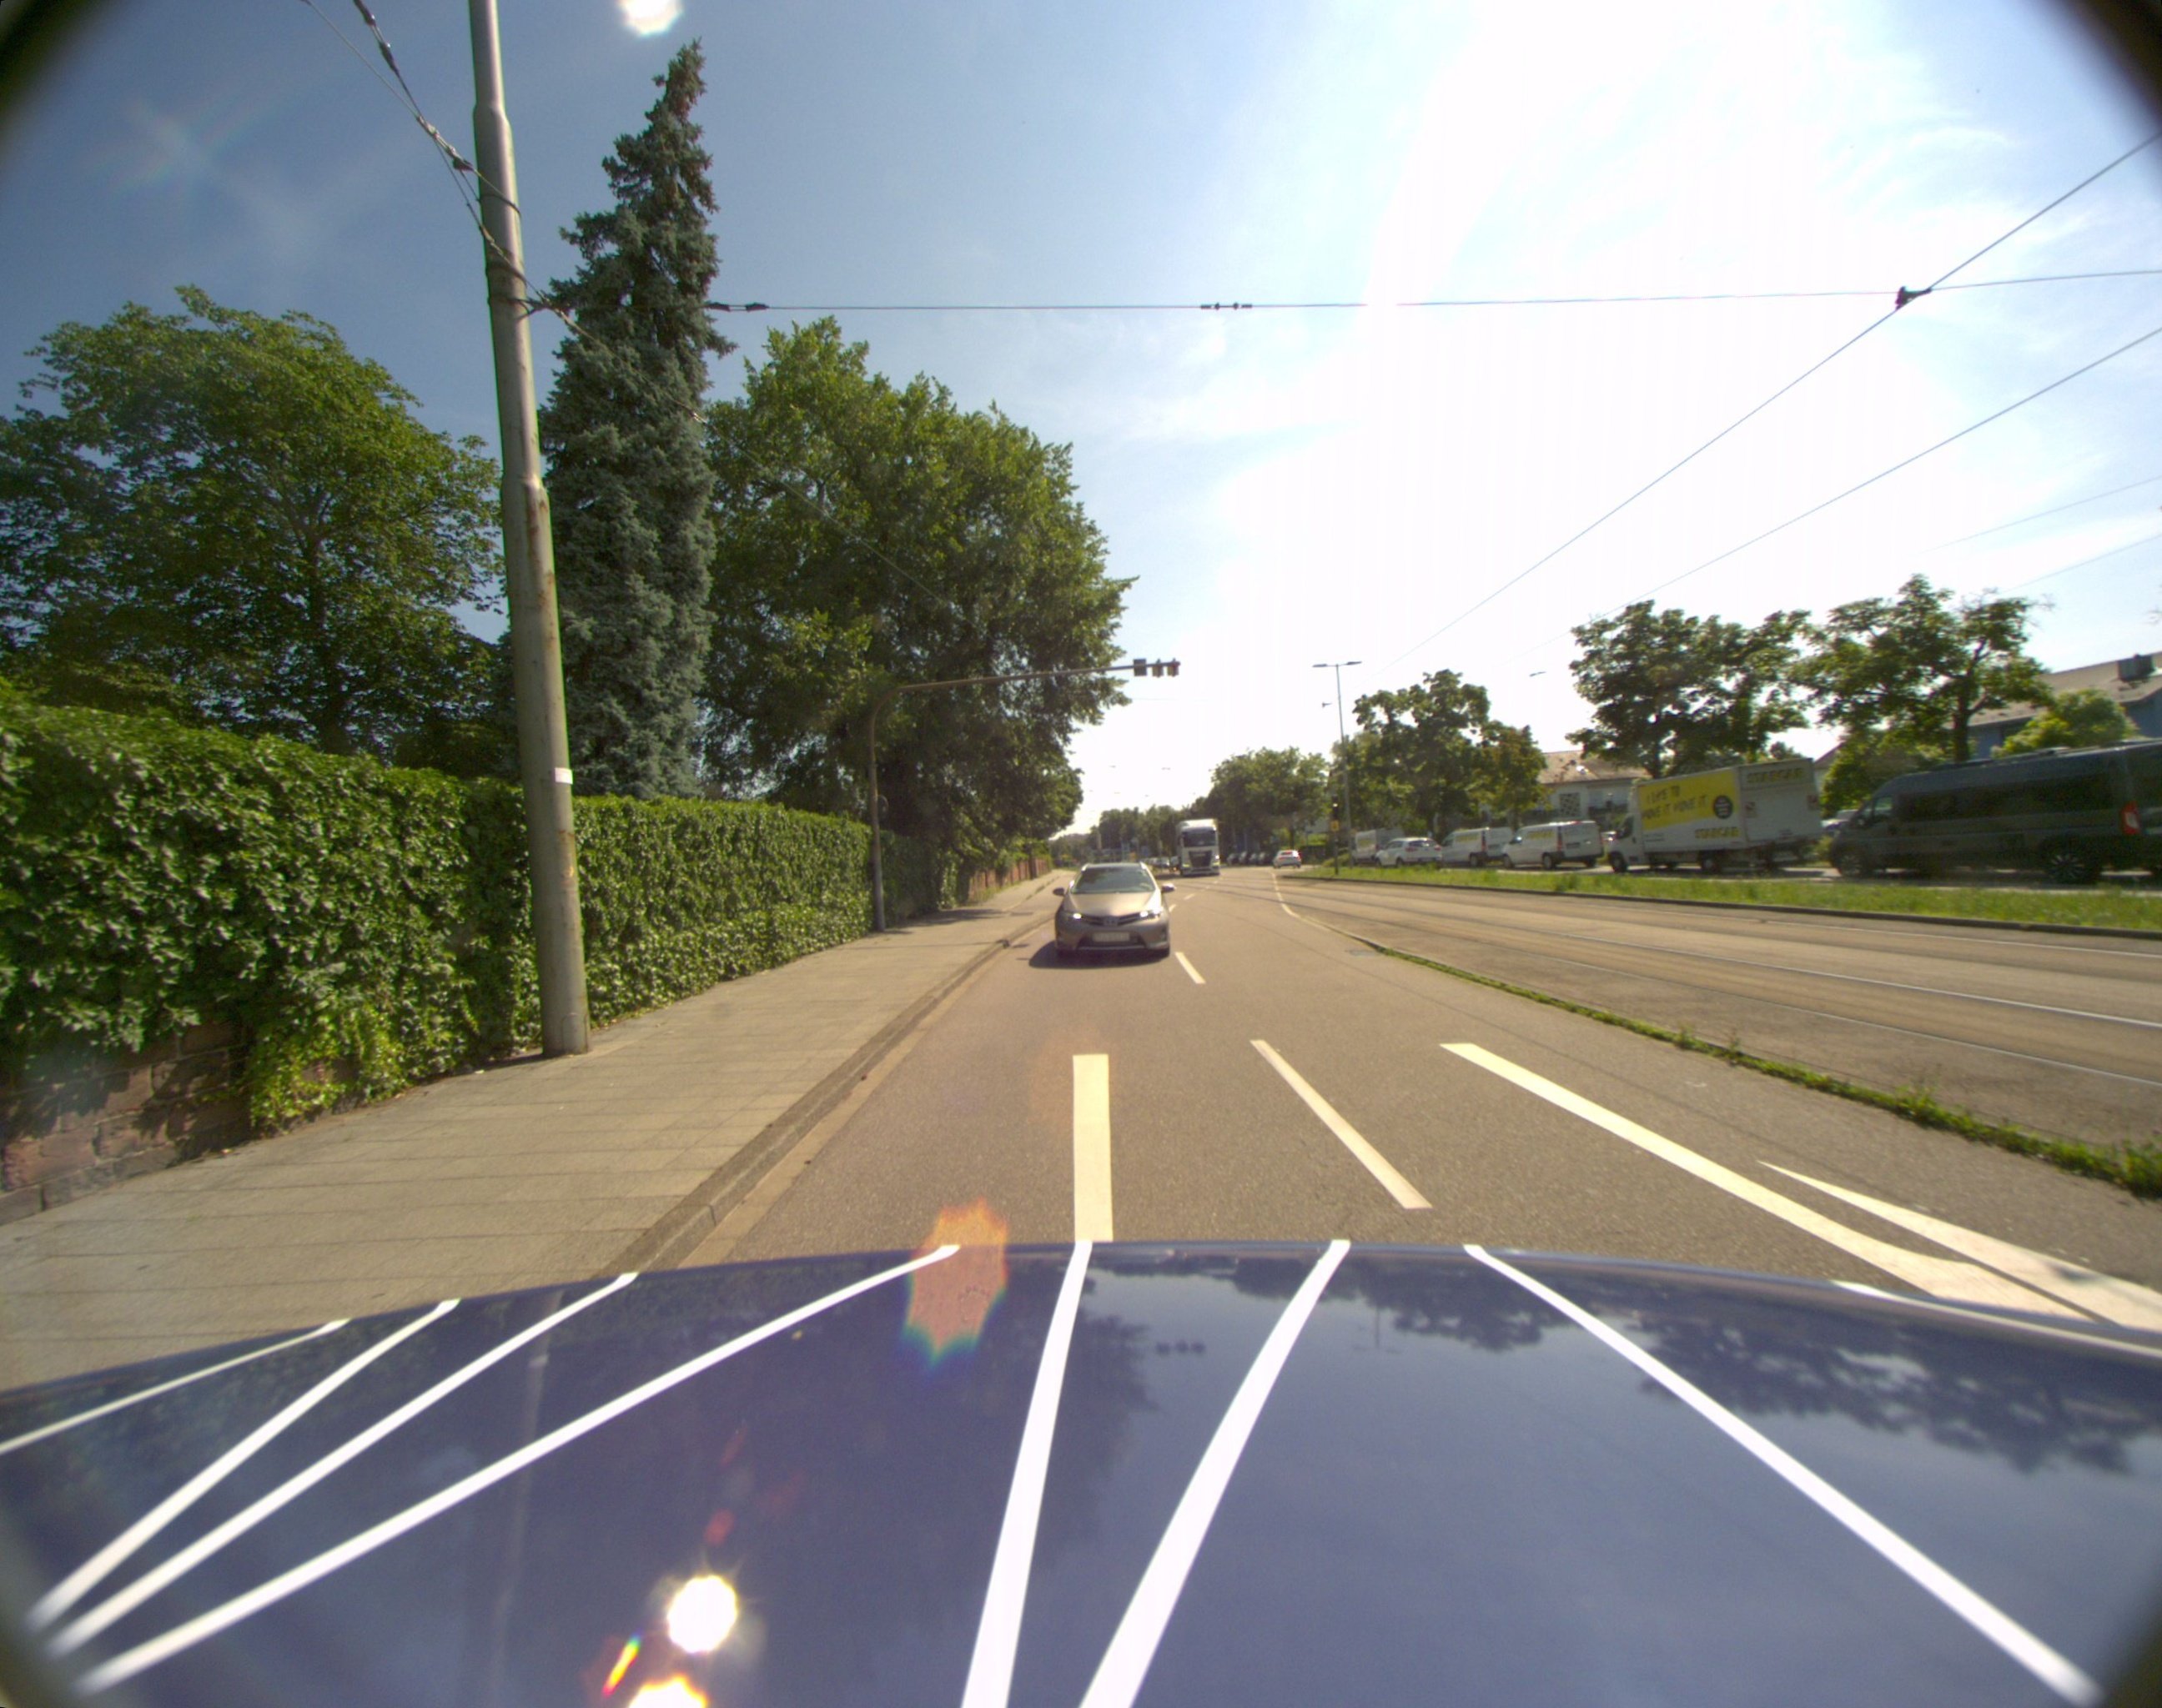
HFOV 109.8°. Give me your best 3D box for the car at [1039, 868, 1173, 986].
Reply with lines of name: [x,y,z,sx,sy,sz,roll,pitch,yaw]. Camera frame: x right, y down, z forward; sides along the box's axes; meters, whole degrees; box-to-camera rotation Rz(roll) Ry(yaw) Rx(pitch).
car: [0.509,0.993,11.939,1.719,1.439,4.032,-2,0,5]

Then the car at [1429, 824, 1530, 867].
car: [20.793,-0.388,39.943,2.202,1.929,5.183,-5,0,-4]

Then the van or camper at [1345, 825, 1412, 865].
van or camper: [20.564,-0.587,52.843,2.263,2.500,6.148,-3,0,2]

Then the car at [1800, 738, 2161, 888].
car: [19.942,-0.784,16.753,2.201,2.653,6.079,-5,0,0]

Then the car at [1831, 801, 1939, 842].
car: [43.065,-1.738,40.754,3.998,1.879,1.785,-3,0,-3]

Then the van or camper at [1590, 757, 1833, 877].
van or camper: [20.071,-1.026,24.844,2.201,3.222,6.772,-5,0,2]

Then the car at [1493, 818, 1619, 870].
car: [20.567,-0.398,33.240,2.201,1.929,5.185,-5,0,2]

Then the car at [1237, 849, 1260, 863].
car: [20.396,0.257,92.587,1.679,1.603,4.241,-3,0,-2]

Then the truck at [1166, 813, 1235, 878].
truck: [8.728,-0.614,57.439,3.390,4.045,14.289,-5,0,3]

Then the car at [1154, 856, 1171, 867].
car: [9.955,0.862,93.395,1.700,1.248,4.000,-3,0,1]

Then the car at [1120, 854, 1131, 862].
car: [11.399,1.080,193.919,1.999,1.783,3.998,-3,0,-6]

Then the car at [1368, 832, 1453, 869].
car: [15.670,-0.158,36.458,2.048,1.588,4.660,-2,0,0]

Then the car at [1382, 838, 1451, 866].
car: [20.260,-0.121,46.147,1.937,1.446,4.885,-5,0,0]

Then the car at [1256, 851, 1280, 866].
car: [20.224,0.470,82.256,1.619,1.442,4.083,-3,0,2]

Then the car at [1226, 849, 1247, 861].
car: [20.332,0.198,99.500,1.679,1.427,4.457,-3,0,-2]

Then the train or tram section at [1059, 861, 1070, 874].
train or tram section: [-5.366,4.282,248.420,2.677,3.631,15.305,-6,0,0]

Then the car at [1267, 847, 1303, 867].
car: [16.203,0.256,60.512,1.795,1.414,4.336,-3,0,3]

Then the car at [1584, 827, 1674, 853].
car: [31.377,-0.792,43.551,3.925,1.263,1.663,-3,0,0]

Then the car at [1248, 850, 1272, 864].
car: [20.496,0.363,87.124,1.701,1.387,4.581,-3,0,0]
